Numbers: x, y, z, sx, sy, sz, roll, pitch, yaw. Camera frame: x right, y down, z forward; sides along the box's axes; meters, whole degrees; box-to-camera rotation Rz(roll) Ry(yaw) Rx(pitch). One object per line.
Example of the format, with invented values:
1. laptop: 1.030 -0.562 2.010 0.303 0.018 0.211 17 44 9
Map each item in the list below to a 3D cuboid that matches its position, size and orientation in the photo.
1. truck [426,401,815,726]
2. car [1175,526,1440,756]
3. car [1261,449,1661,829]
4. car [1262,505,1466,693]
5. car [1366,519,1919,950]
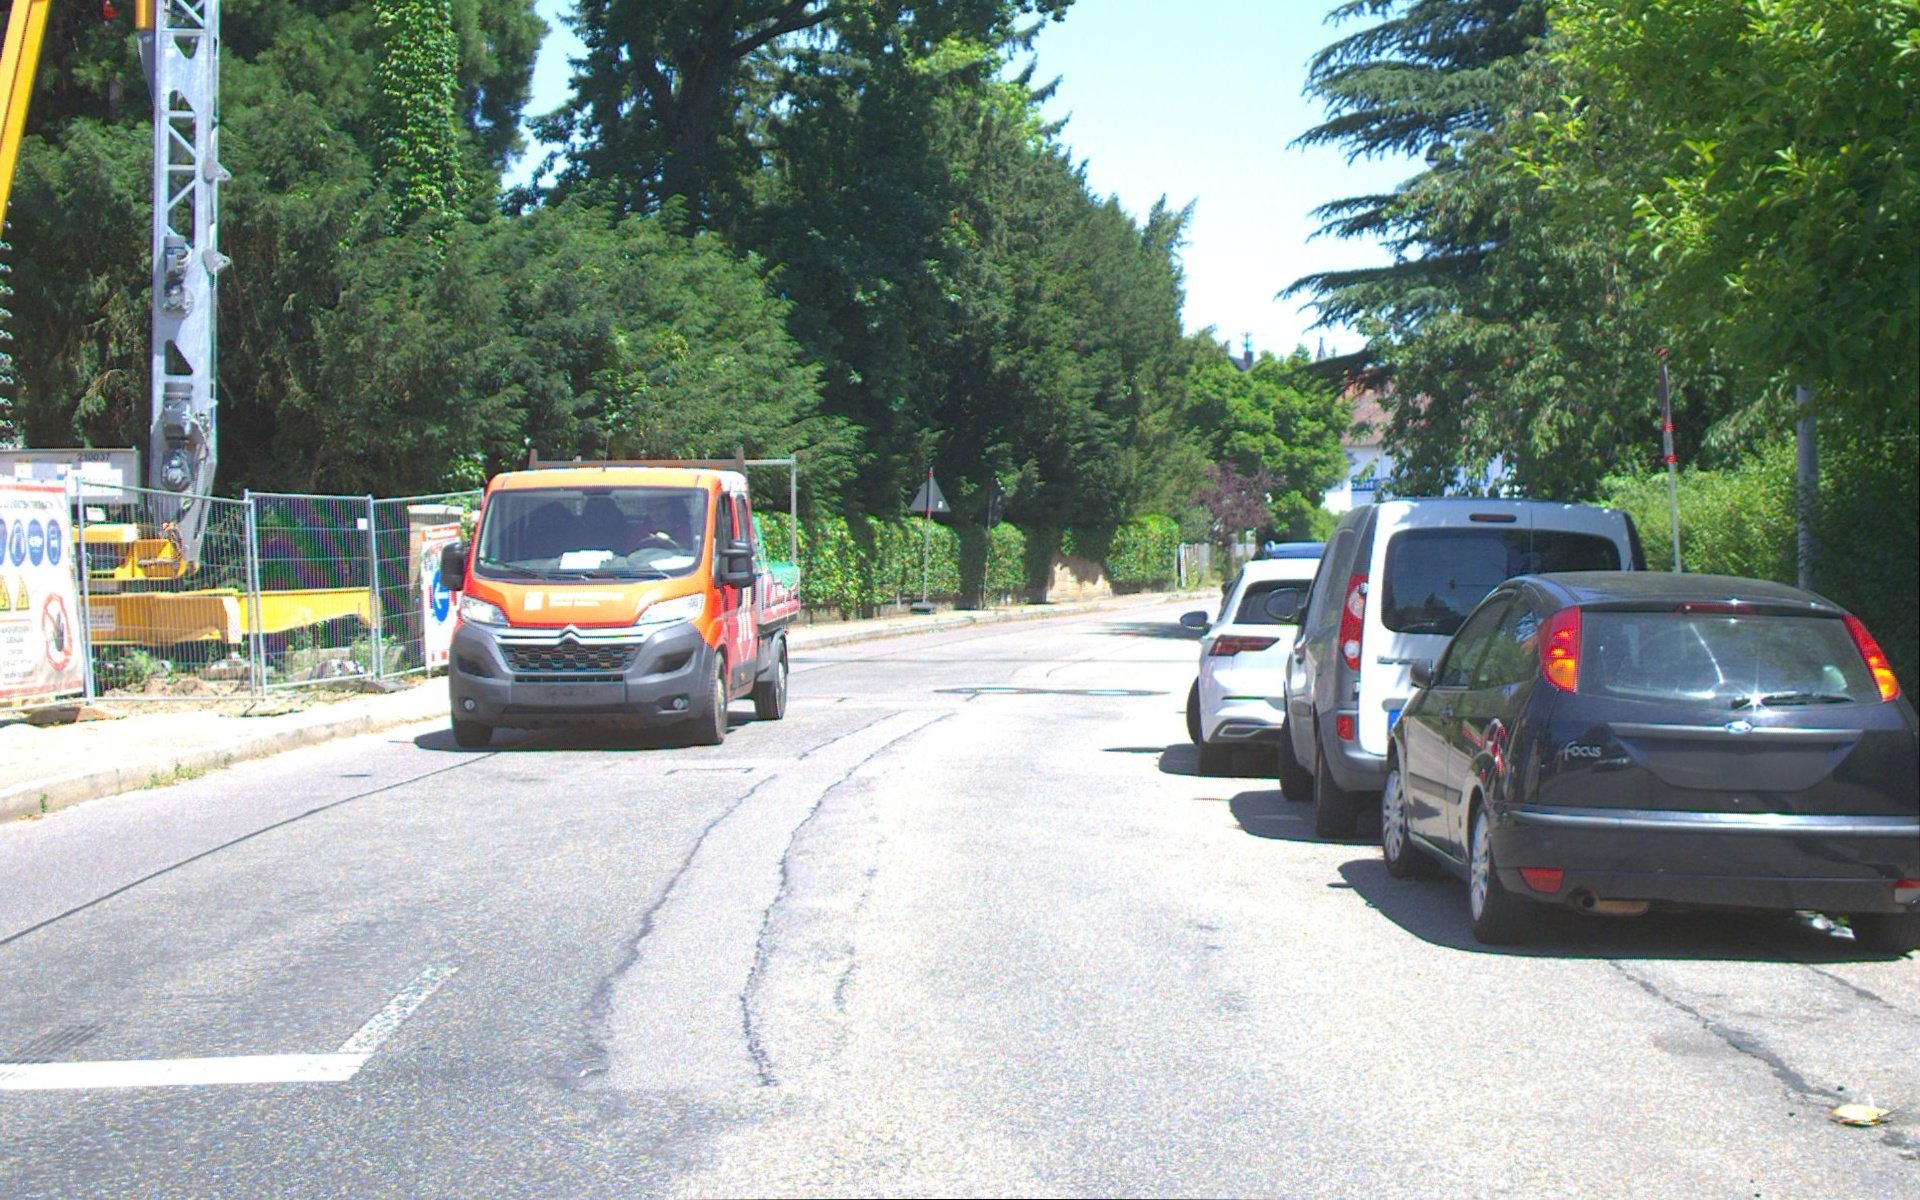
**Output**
1. truck: -2.643 -0.331 28.542 2.128 2.331 6.434 -2 1 4
2. car: 2.410 0.258 24.448 1.662 1.430 4.128 2 0 4
3. car: 2.675 0.183 19.212 1.662 1.797 4.202 3 0 2
4. car: 3.624 -0.014 31.210 1.662 1.533 4.203 2 0 6
5. car: 2.782 0.470 14.305 1.628 1.458 4.016 3 0 0
